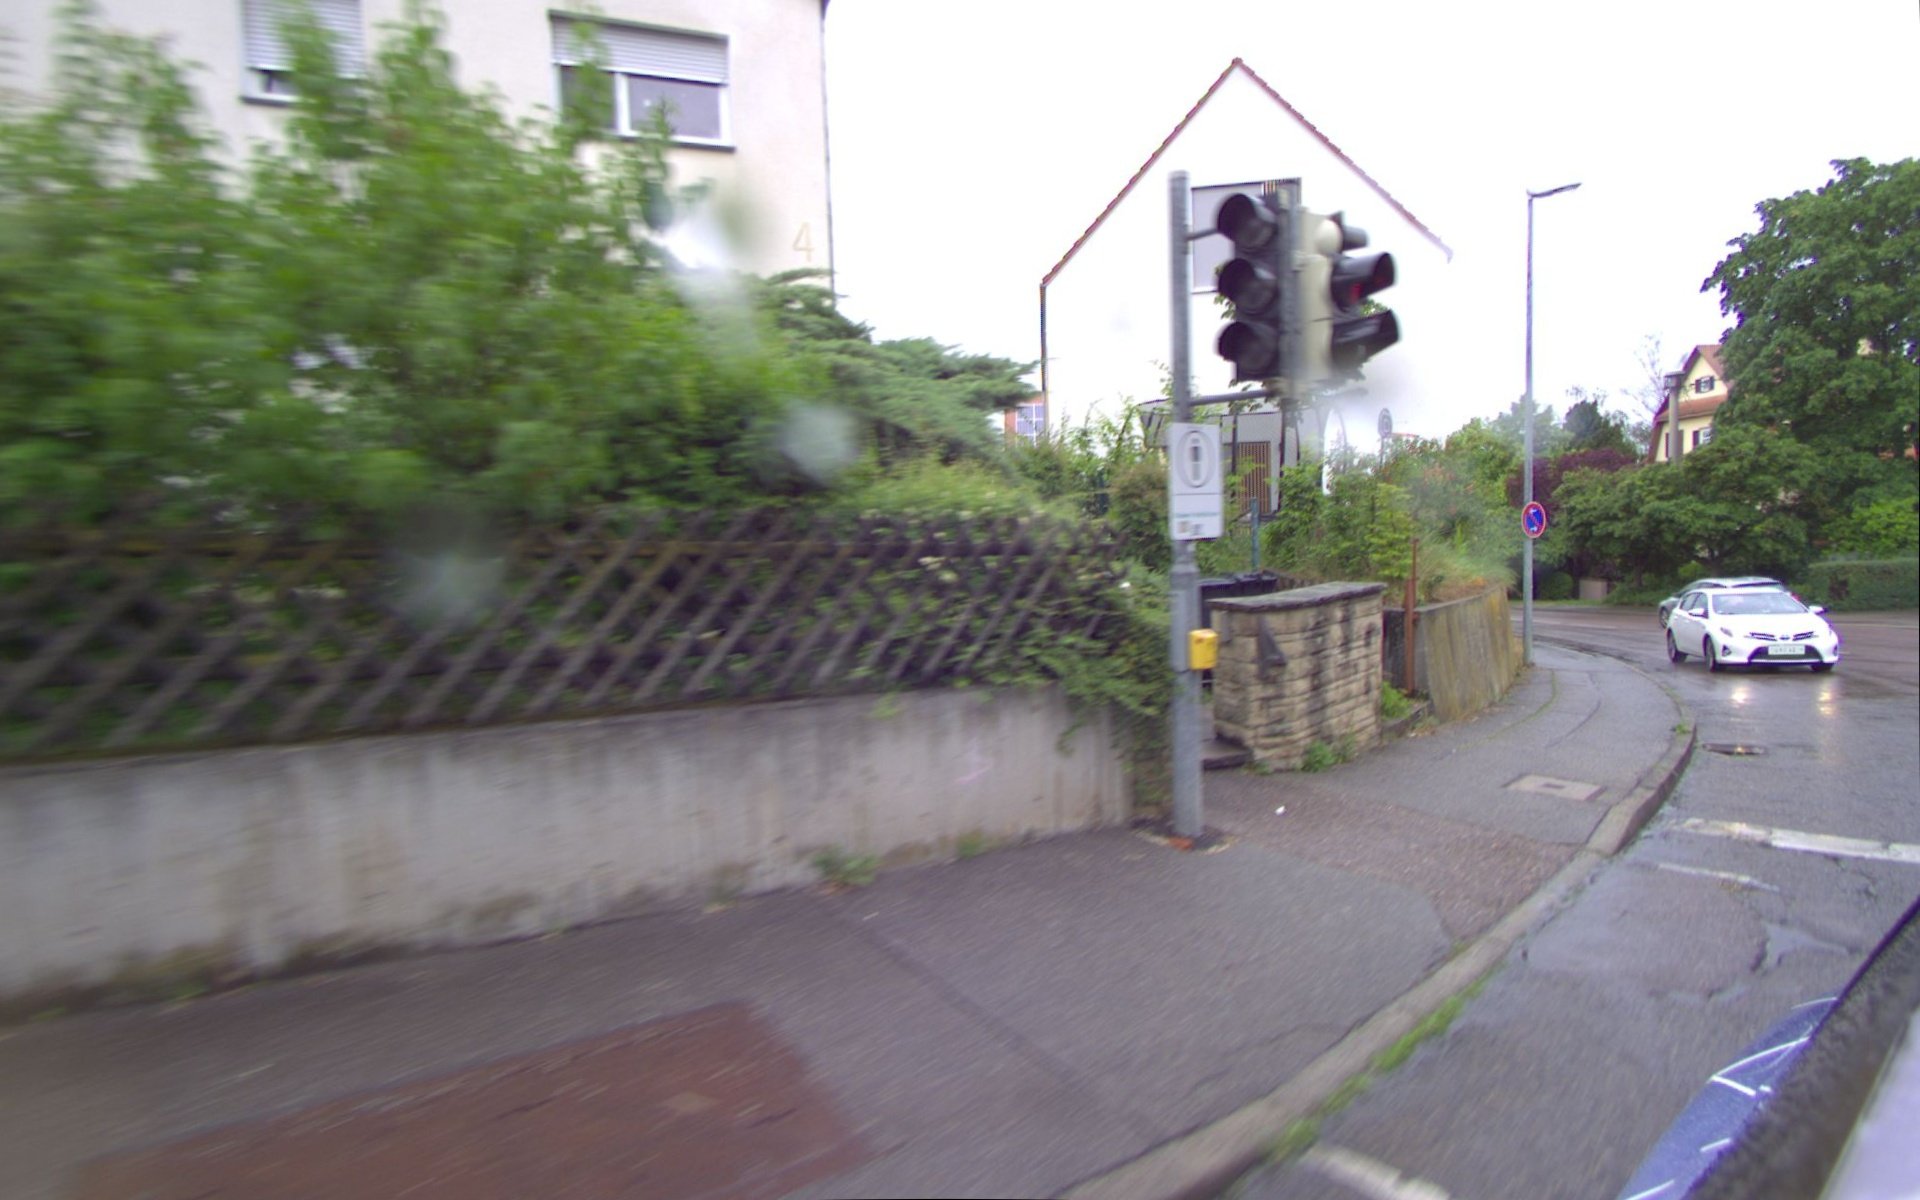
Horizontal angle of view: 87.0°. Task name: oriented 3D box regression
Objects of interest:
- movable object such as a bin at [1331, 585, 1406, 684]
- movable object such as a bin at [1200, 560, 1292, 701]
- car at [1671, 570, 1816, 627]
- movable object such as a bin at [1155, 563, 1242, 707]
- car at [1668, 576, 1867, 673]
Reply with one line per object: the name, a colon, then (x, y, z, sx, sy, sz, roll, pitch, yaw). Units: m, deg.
movable object such as a bin: (4.107, 0.339, 10.190, 0.471, 0.947, 0.468, -3, 0, -15)
movable object such as a bin: (2.765, 0.272, 9.806, 0.590, 1.259, 0.611, -4, 5, -22)
car: (21.944, -0.050, 28.559, 1.576, 1.431, 4.219, -2, 0, 14)
movable object such as a bin: (2.240, 0.302, 9.532, 0.505, 1.259, 0.611, -4, 5, -22)
car: (14.682, 0.385, 18.670, 1.840, 1.453, 3.986, -3, 1, 24)
